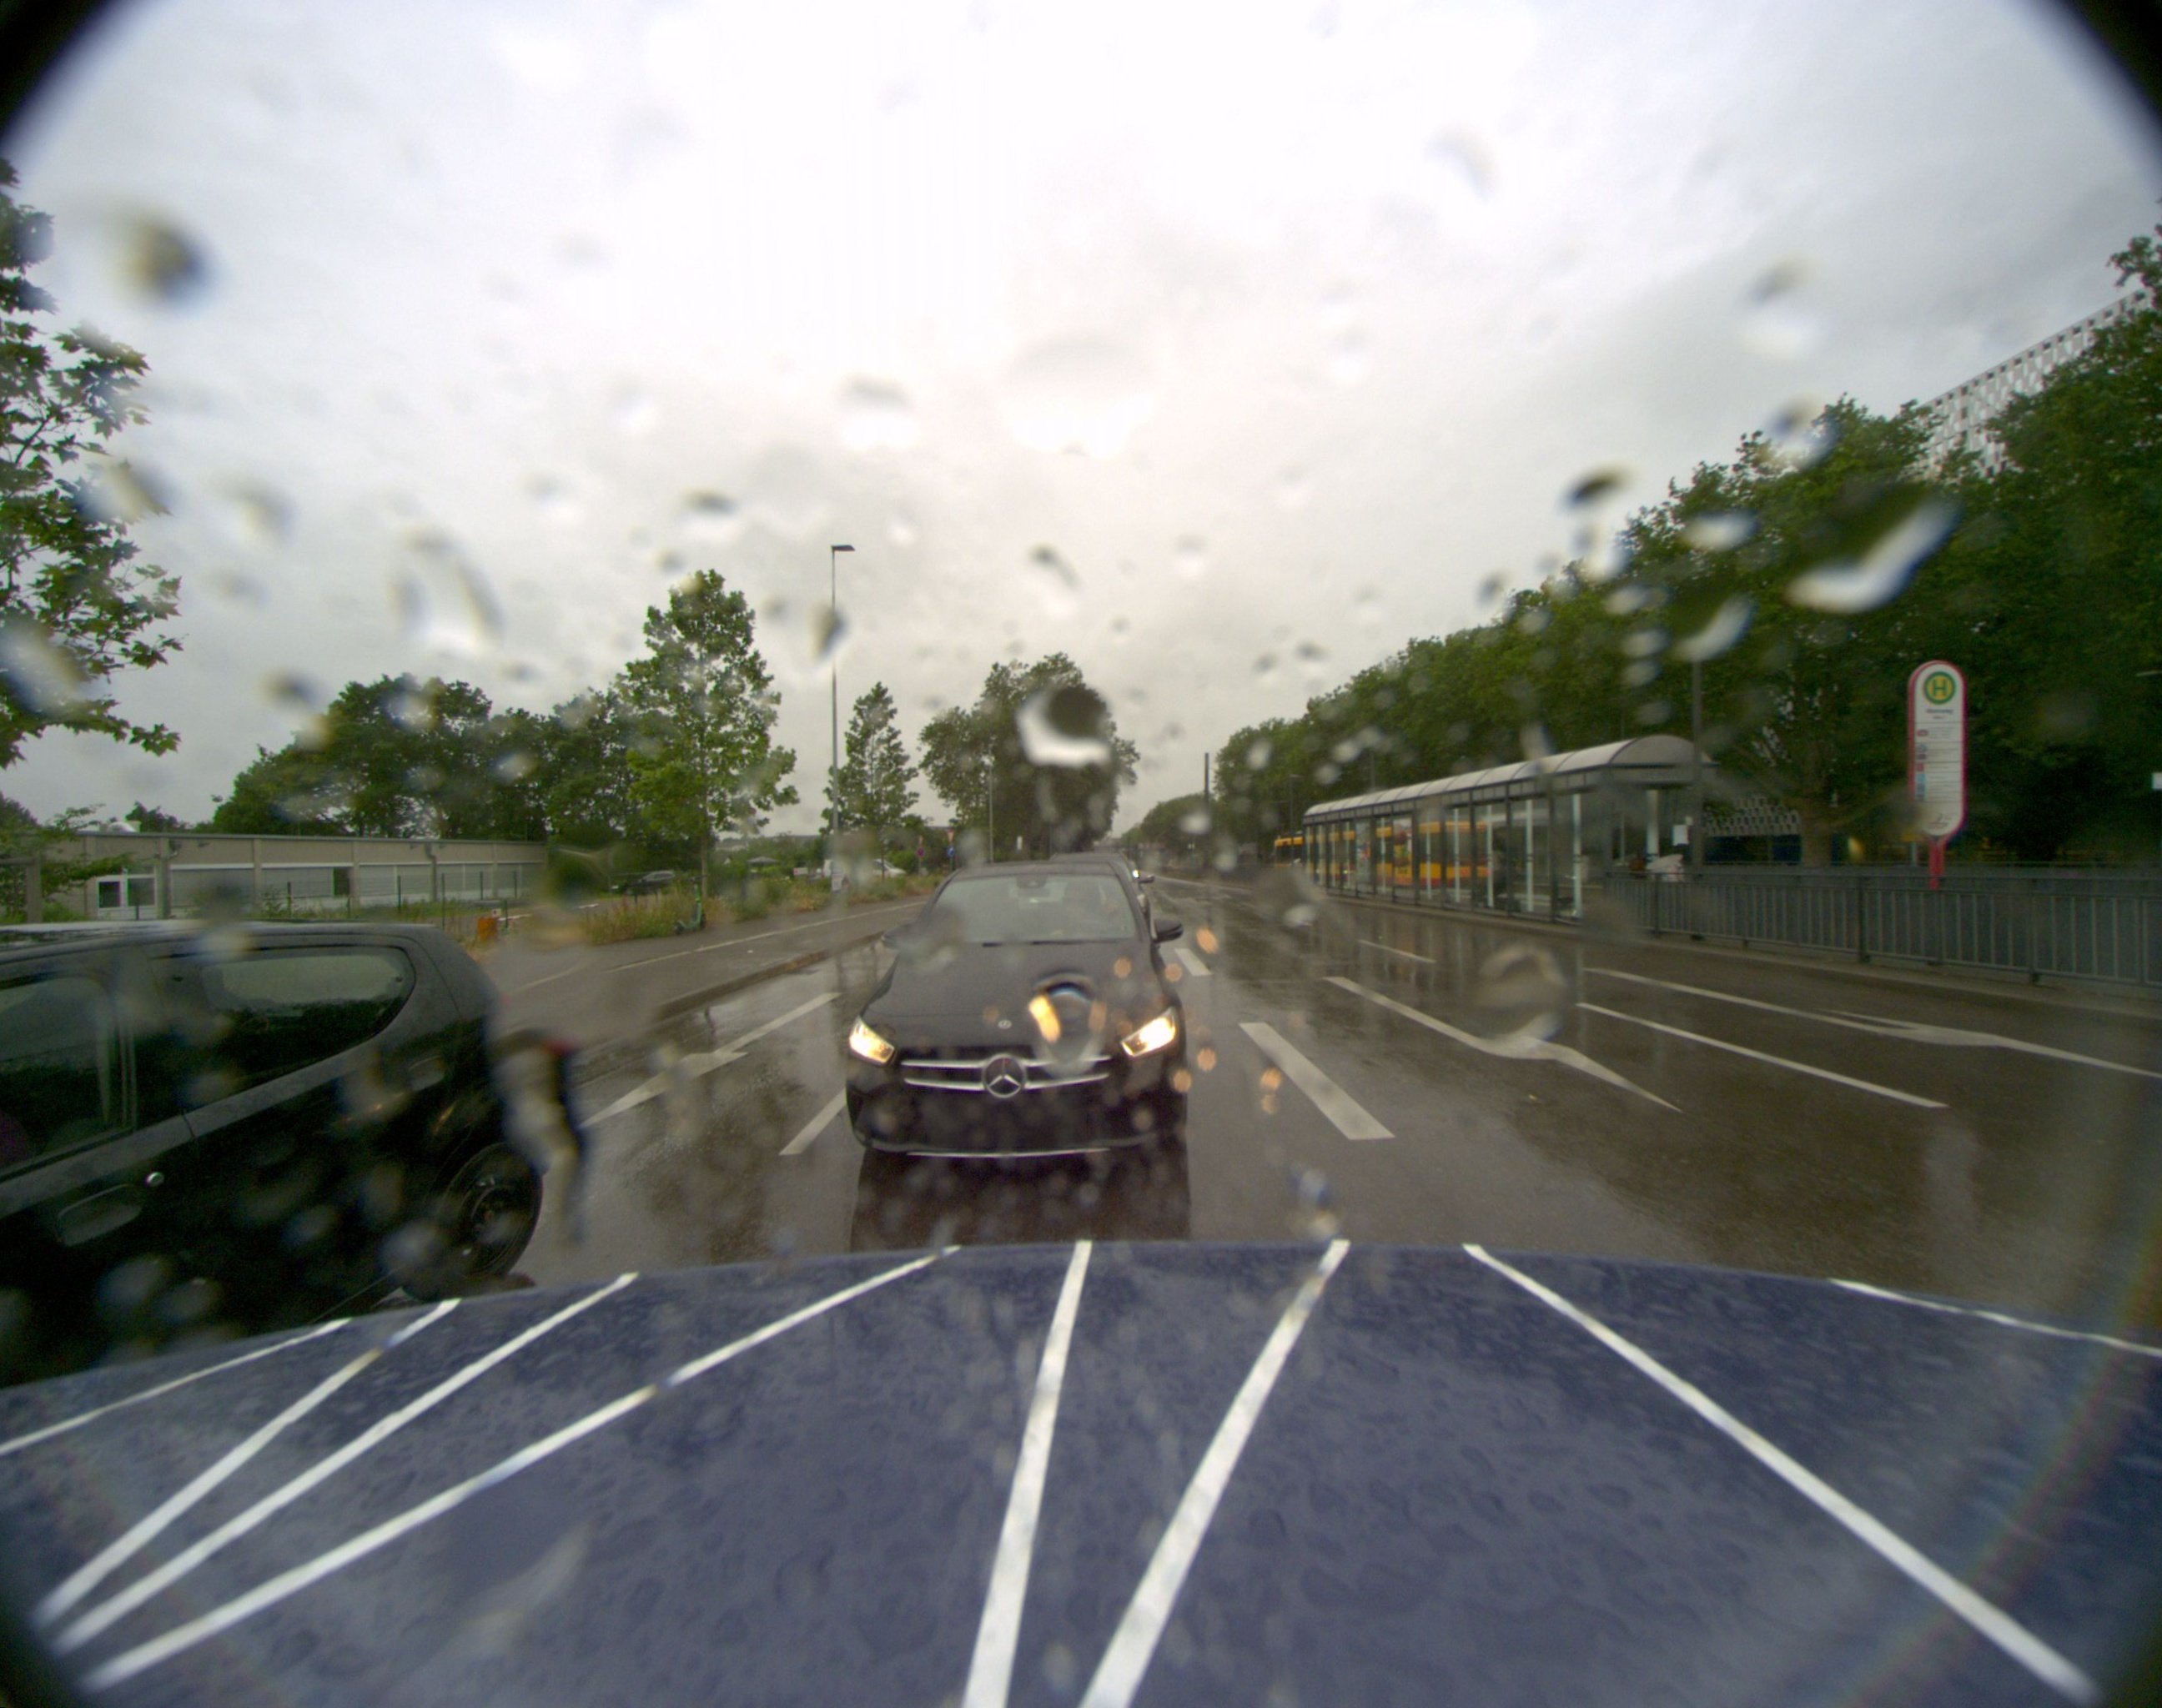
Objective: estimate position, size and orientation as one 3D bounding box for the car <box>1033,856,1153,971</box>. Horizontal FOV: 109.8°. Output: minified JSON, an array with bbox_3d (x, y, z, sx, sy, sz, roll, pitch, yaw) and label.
[{"bbox_3d":[0.229,0.846,12.743,1.689,1.611,4.000,-1,0,2],"label":"car"}]

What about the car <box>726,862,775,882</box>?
[{"bbox_3d":[-28.237,1.538,65.015,3.552,1.574,1.345,-3,1,6],"label":"car"}]

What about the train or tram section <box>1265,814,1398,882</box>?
[{"bbox_3d":[16.383,-0.410,51.690,3.751,3.777,15.569,-3,0,0],"label":"train or tram section"}]

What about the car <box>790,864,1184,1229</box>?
[{"bbox_3d":[-0.217,0.902,5.500,1.758,1.572,4.171,-2,0,6],"label":"car"}]

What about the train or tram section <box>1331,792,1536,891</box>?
[{"bbox_3d":[16.400,-0.539,37.262,3.751,3.817,13.253,-3,0,0],"label":"train or tram section"}]

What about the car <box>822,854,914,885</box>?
[{"bbox_3d":[-13.447,0.976,48.181,5.174,1.715,2.006,-3,1,-1],"label":"car"}]

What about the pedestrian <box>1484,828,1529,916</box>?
[{"bbox_3d":[9.280,0.386,16.603,0.655,1.860,0.773,-2,1,17],"label":"pedestrian"}]

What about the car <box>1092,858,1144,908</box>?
[{"bbox_3d":[1.249,0.972,27.006,1.557,1.541,3.717,-3,0,0],"label":"car"}]

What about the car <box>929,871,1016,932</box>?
[{"bbox_3d":[-2.736,1.175,19.877,1.617,1.301,3.717,-3,0,1],"label":"car"}]

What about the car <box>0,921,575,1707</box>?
[{"bbox_3d":[-2.997,1.057,1.454,1.557,1.500,3.618,-2,0,1],"label":"car"}]

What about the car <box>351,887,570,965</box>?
[{"bbox_3d":[-12.028,1.383,14.821,3.243,1.281,1.345,-3,1,6],"label":"car"}]

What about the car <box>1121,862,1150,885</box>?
[{"bbox_3d":[3.399,1.200,47.661,1.557,1.301,3.717,-3,0,1],"label":"car"}]

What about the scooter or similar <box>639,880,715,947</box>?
[{"bbox_3d":[-8.190,1.163,15.482,0.367,1.192,1.913,-2,1,4],"label":"scooter or similar"}]

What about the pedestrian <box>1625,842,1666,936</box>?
[{"bbox_3d":[9.183,0.563,12.372,0.321,1.485,0.415,-3,2,6],"label":"pedestrian"}]
